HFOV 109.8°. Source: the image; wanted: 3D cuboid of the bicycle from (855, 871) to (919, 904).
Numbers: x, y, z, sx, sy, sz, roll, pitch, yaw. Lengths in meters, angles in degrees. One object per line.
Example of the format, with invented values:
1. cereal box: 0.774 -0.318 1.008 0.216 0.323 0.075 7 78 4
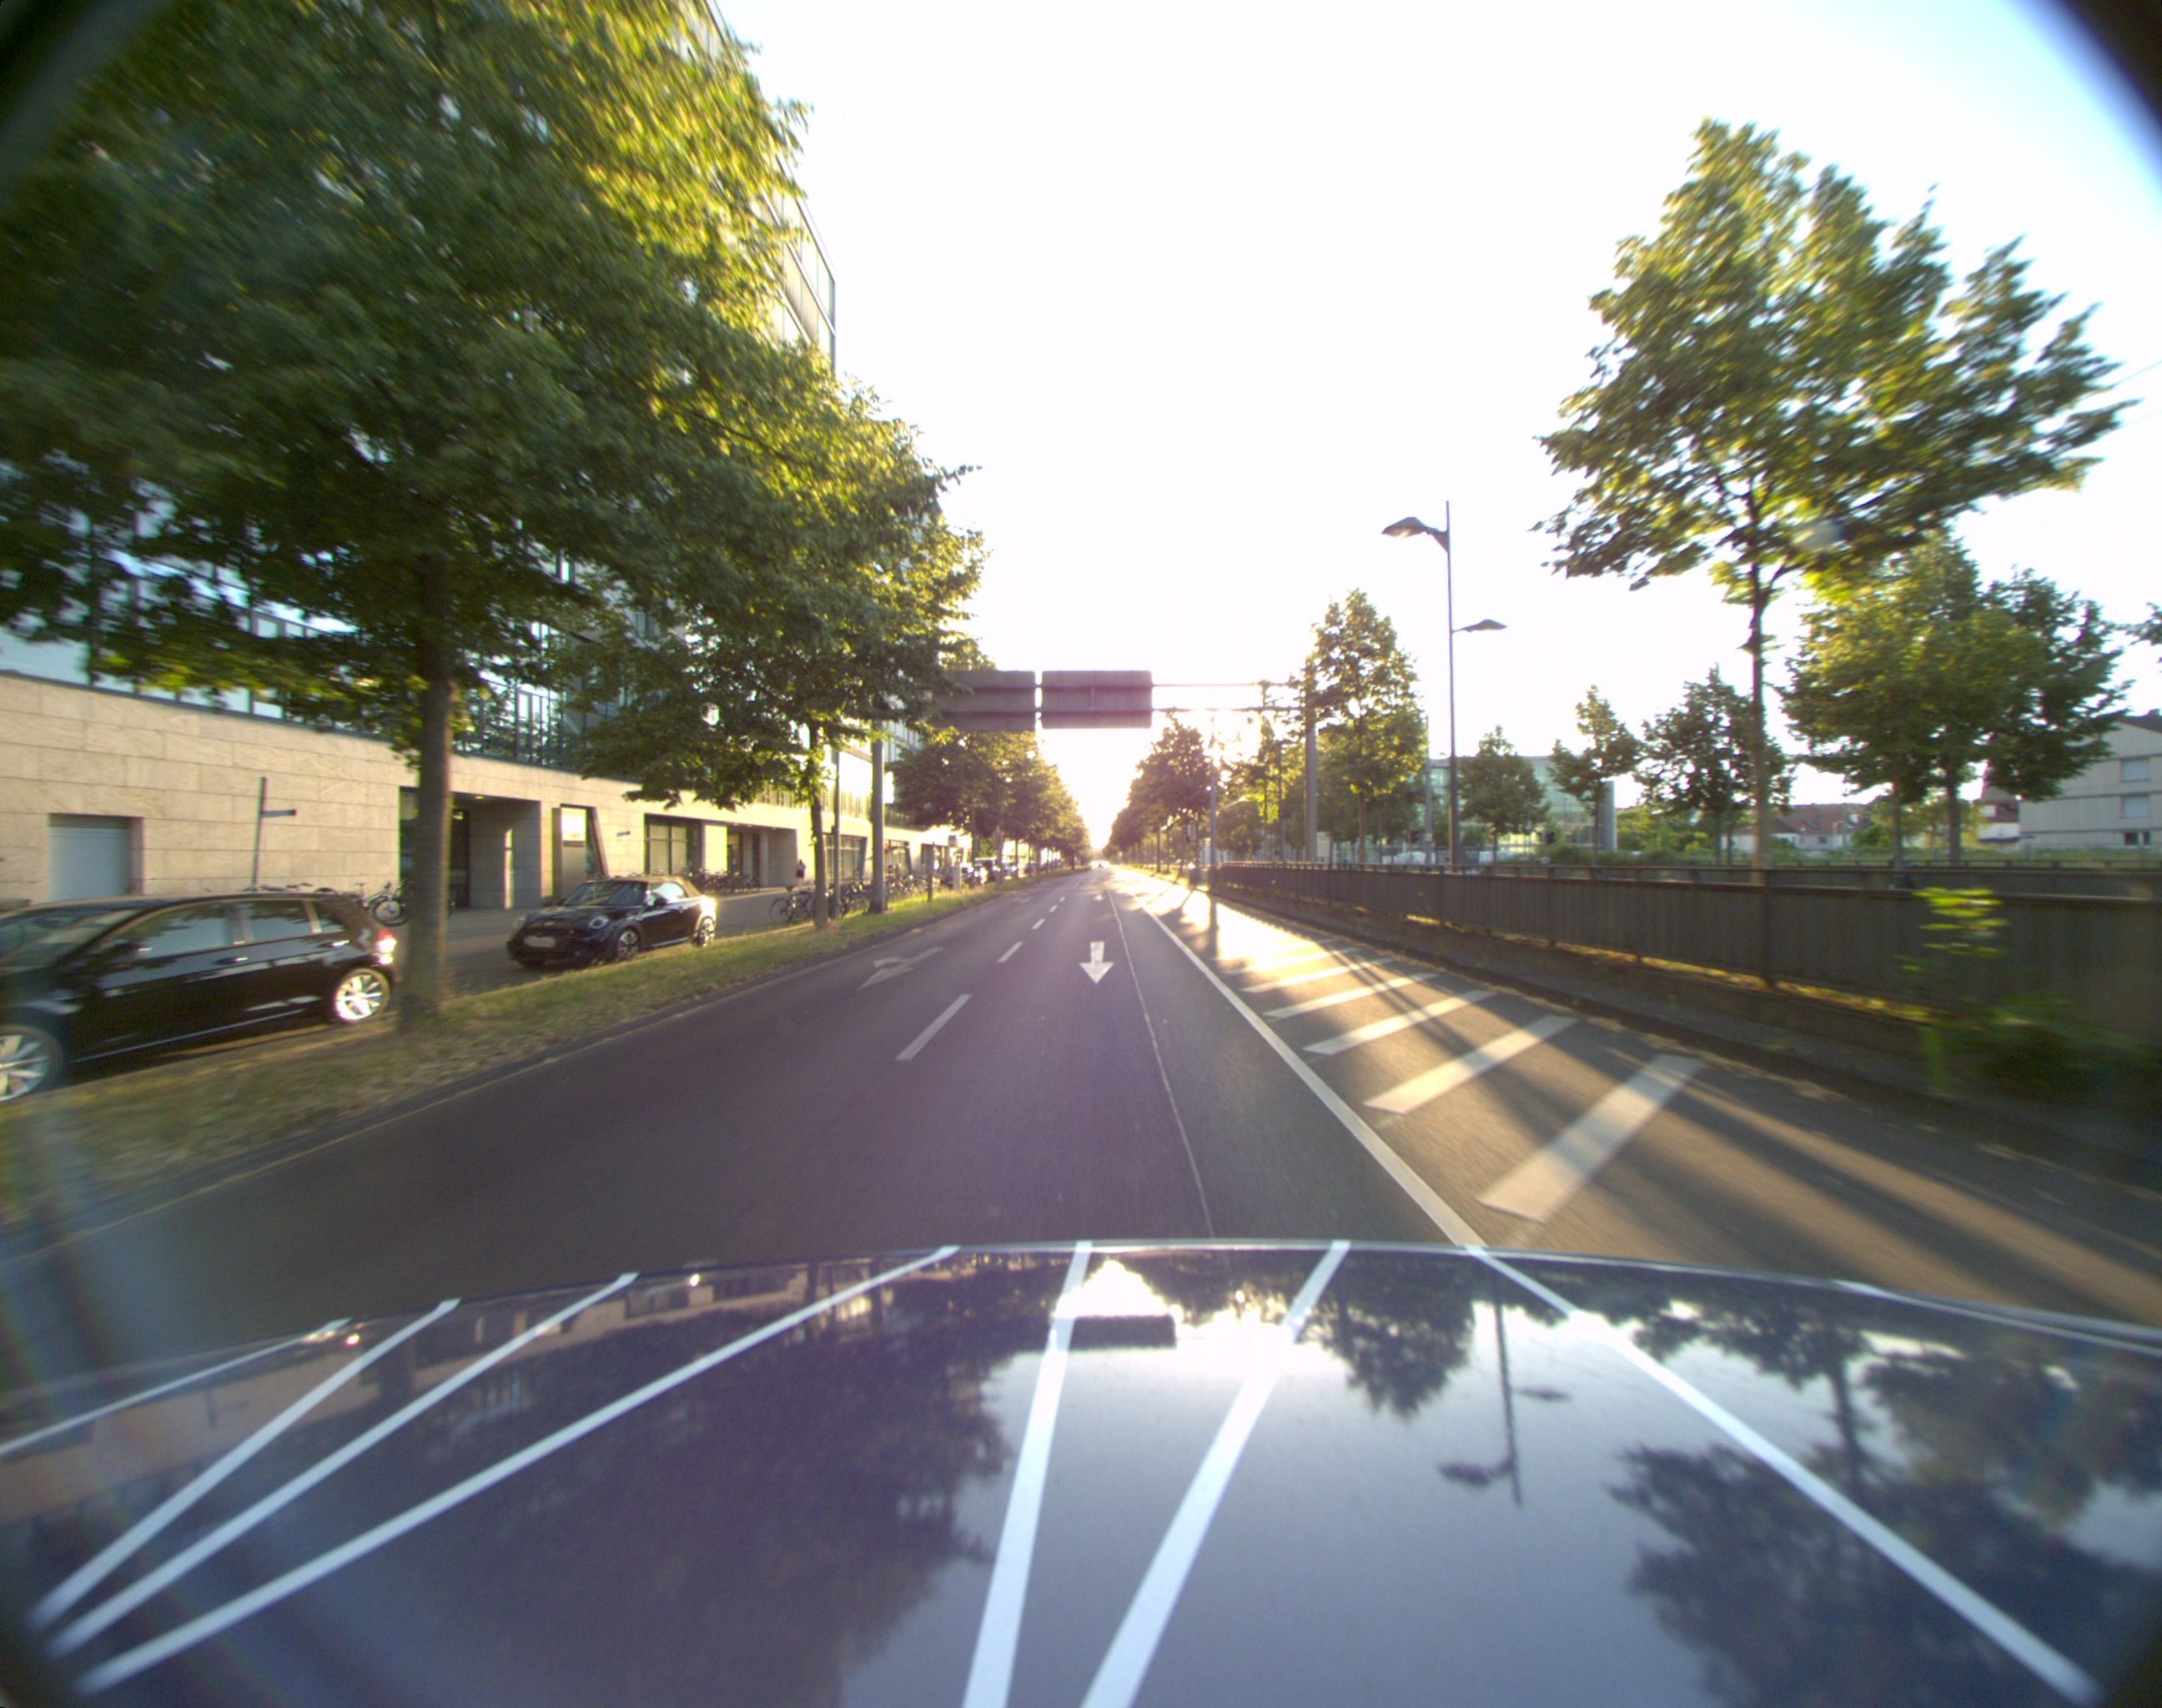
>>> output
1. bicycle: -7.126 1.215 28.014 2.148 1.047 0.571 -4 0 -5

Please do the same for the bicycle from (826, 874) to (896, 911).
1. bicycle: -7.295 1.259 25.212 2.148 1.047 0.300 -4 0 -5

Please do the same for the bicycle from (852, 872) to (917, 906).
1. bicycle: -7.072 1.245 27.392 2.148 1.047 0.562 -4 0 -5

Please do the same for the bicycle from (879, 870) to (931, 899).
1. bicycle: -7.178 1.233 31.006 1.947 1.047 0.414 -4 0 -6

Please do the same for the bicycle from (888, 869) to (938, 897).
1. bicycle: -7.113 1.226 32.176 1.947 1.047 0.347 -4 0 -6

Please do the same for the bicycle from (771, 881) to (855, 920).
1. bicycle: -7.678 1.322 21.824 2.148 0.934 0.545 -4 0 -5

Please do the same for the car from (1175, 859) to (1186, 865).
1. car: 24.642 1.997 188.382 1.907 1.476 4.631 0 -1 0

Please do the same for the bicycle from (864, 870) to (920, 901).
1. bicycle: -7.196 1.198 28.988 1.947 1.047 0.404 -4 0 -5

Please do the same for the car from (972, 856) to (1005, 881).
1. car: -7.145 1.089 58.833 1.999 1.841 4.665 -1 0 -1

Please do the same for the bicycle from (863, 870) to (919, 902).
1. bicycle: -7.123 1.184 28.528 1.947 1.047 0.404 -4 0 -5

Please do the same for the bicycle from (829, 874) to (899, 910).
1. bicycle: -7.315 1.275 25.652 2.148 1.047 0.525 -4 0 -5

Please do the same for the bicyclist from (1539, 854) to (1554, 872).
1. bicyclist: 37.262 0.743 60.875 0.621 1.448 0.937 -1 0 -1

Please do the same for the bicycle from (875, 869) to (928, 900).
1. bicycle: -7.133 1.204 30.221 1.947 1.047 0.414 -4 0 -6

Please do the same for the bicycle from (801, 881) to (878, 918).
1. bicycle: -7.405 1.396 23.336 2.148 0.934 0.452 -4 0 -4

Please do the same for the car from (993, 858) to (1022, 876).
1. car: -6.868 1.189 71.332 1.998 1.633 4.879 -1 0 2

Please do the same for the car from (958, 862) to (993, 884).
1. car: -7.294 1.283 52.980 1.814 1.463 4.665 -1 0 0

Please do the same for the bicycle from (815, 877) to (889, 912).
1. bicycle: -7.310 1.289 24.296 2.148 0.967 0.443 -4 0 -5

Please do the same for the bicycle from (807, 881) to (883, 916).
1. bicycle: -7.374 1.389 23.802 2.148 0.934 0.443 -4 0 -5

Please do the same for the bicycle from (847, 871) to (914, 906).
1. bicycle: -7.054 1.212 26.816 2.148 1.047 0.571 -4 0 -5

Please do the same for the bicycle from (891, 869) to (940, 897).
1. bicycle: -7.074 1.226 32.558 1.947 1.047 0.314 -4 0 -6

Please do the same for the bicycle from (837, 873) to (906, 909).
1. bicycle: -7.214 1.279 26.232 2.149 1.047 0.525 -4 0 -7

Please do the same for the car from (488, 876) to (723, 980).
1. car: -8.071 1.170 13.368 1.579 1.463 3.882 -1 0 2

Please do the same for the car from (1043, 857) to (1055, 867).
1. car: -5.296 1.376 126.111 1.785 1.485 4.001 -4 -1 2

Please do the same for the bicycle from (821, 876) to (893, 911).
1. bicycle: -7.296 1.285 24.772 2.148 0.981 0.443 -4 0 -5

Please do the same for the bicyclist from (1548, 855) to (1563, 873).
1. bicyclist: 38.132 0.786 61.055 0.621 1.448 0.937 -1 0 -1

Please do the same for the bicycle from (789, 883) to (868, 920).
1. bicycle: -7.567 1.412 22.851 2.148 0.934 0.443 -4 0 -5

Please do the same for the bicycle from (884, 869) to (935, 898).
1. bicycle: -7.135 1.225 31.697 1.947 1.047 0.414 -4 0 -6

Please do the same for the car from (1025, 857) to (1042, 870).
1. car: -5.786 1.184 92.300 1.714 1.506 3.759 -3 0 0

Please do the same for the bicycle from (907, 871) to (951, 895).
1. bicycle: -7.490 1.425 37.490 1.946 1.047 0.545 -4 0 1

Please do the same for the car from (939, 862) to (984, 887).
1. car: -7.247 1.241 46.537 1.873 1.403 4.647 0 0 2

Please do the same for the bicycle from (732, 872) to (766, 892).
1. bicycle: -17.088 1.438 39.140 1.579 0.981 0.404 -1 0 2

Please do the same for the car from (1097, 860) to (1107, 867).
1. car: 4.351 1.908 156.245 1.998 1.473 4.336 -1 -1 1

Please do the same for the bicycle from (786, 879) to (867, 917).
1. bicycle: -7.455 1.298 22.343 2.148 0.934 0.443 -4 0 -5

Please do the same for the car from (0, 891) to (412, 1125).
1. car: -8.352 1.175 6.291 1.782 1.463 4.288 -3 0 0

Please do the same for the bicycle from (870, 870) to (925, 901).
1. bicycle: -7.114 1.209 29.480 1.947 1.047 0.404 -4 0 -2
